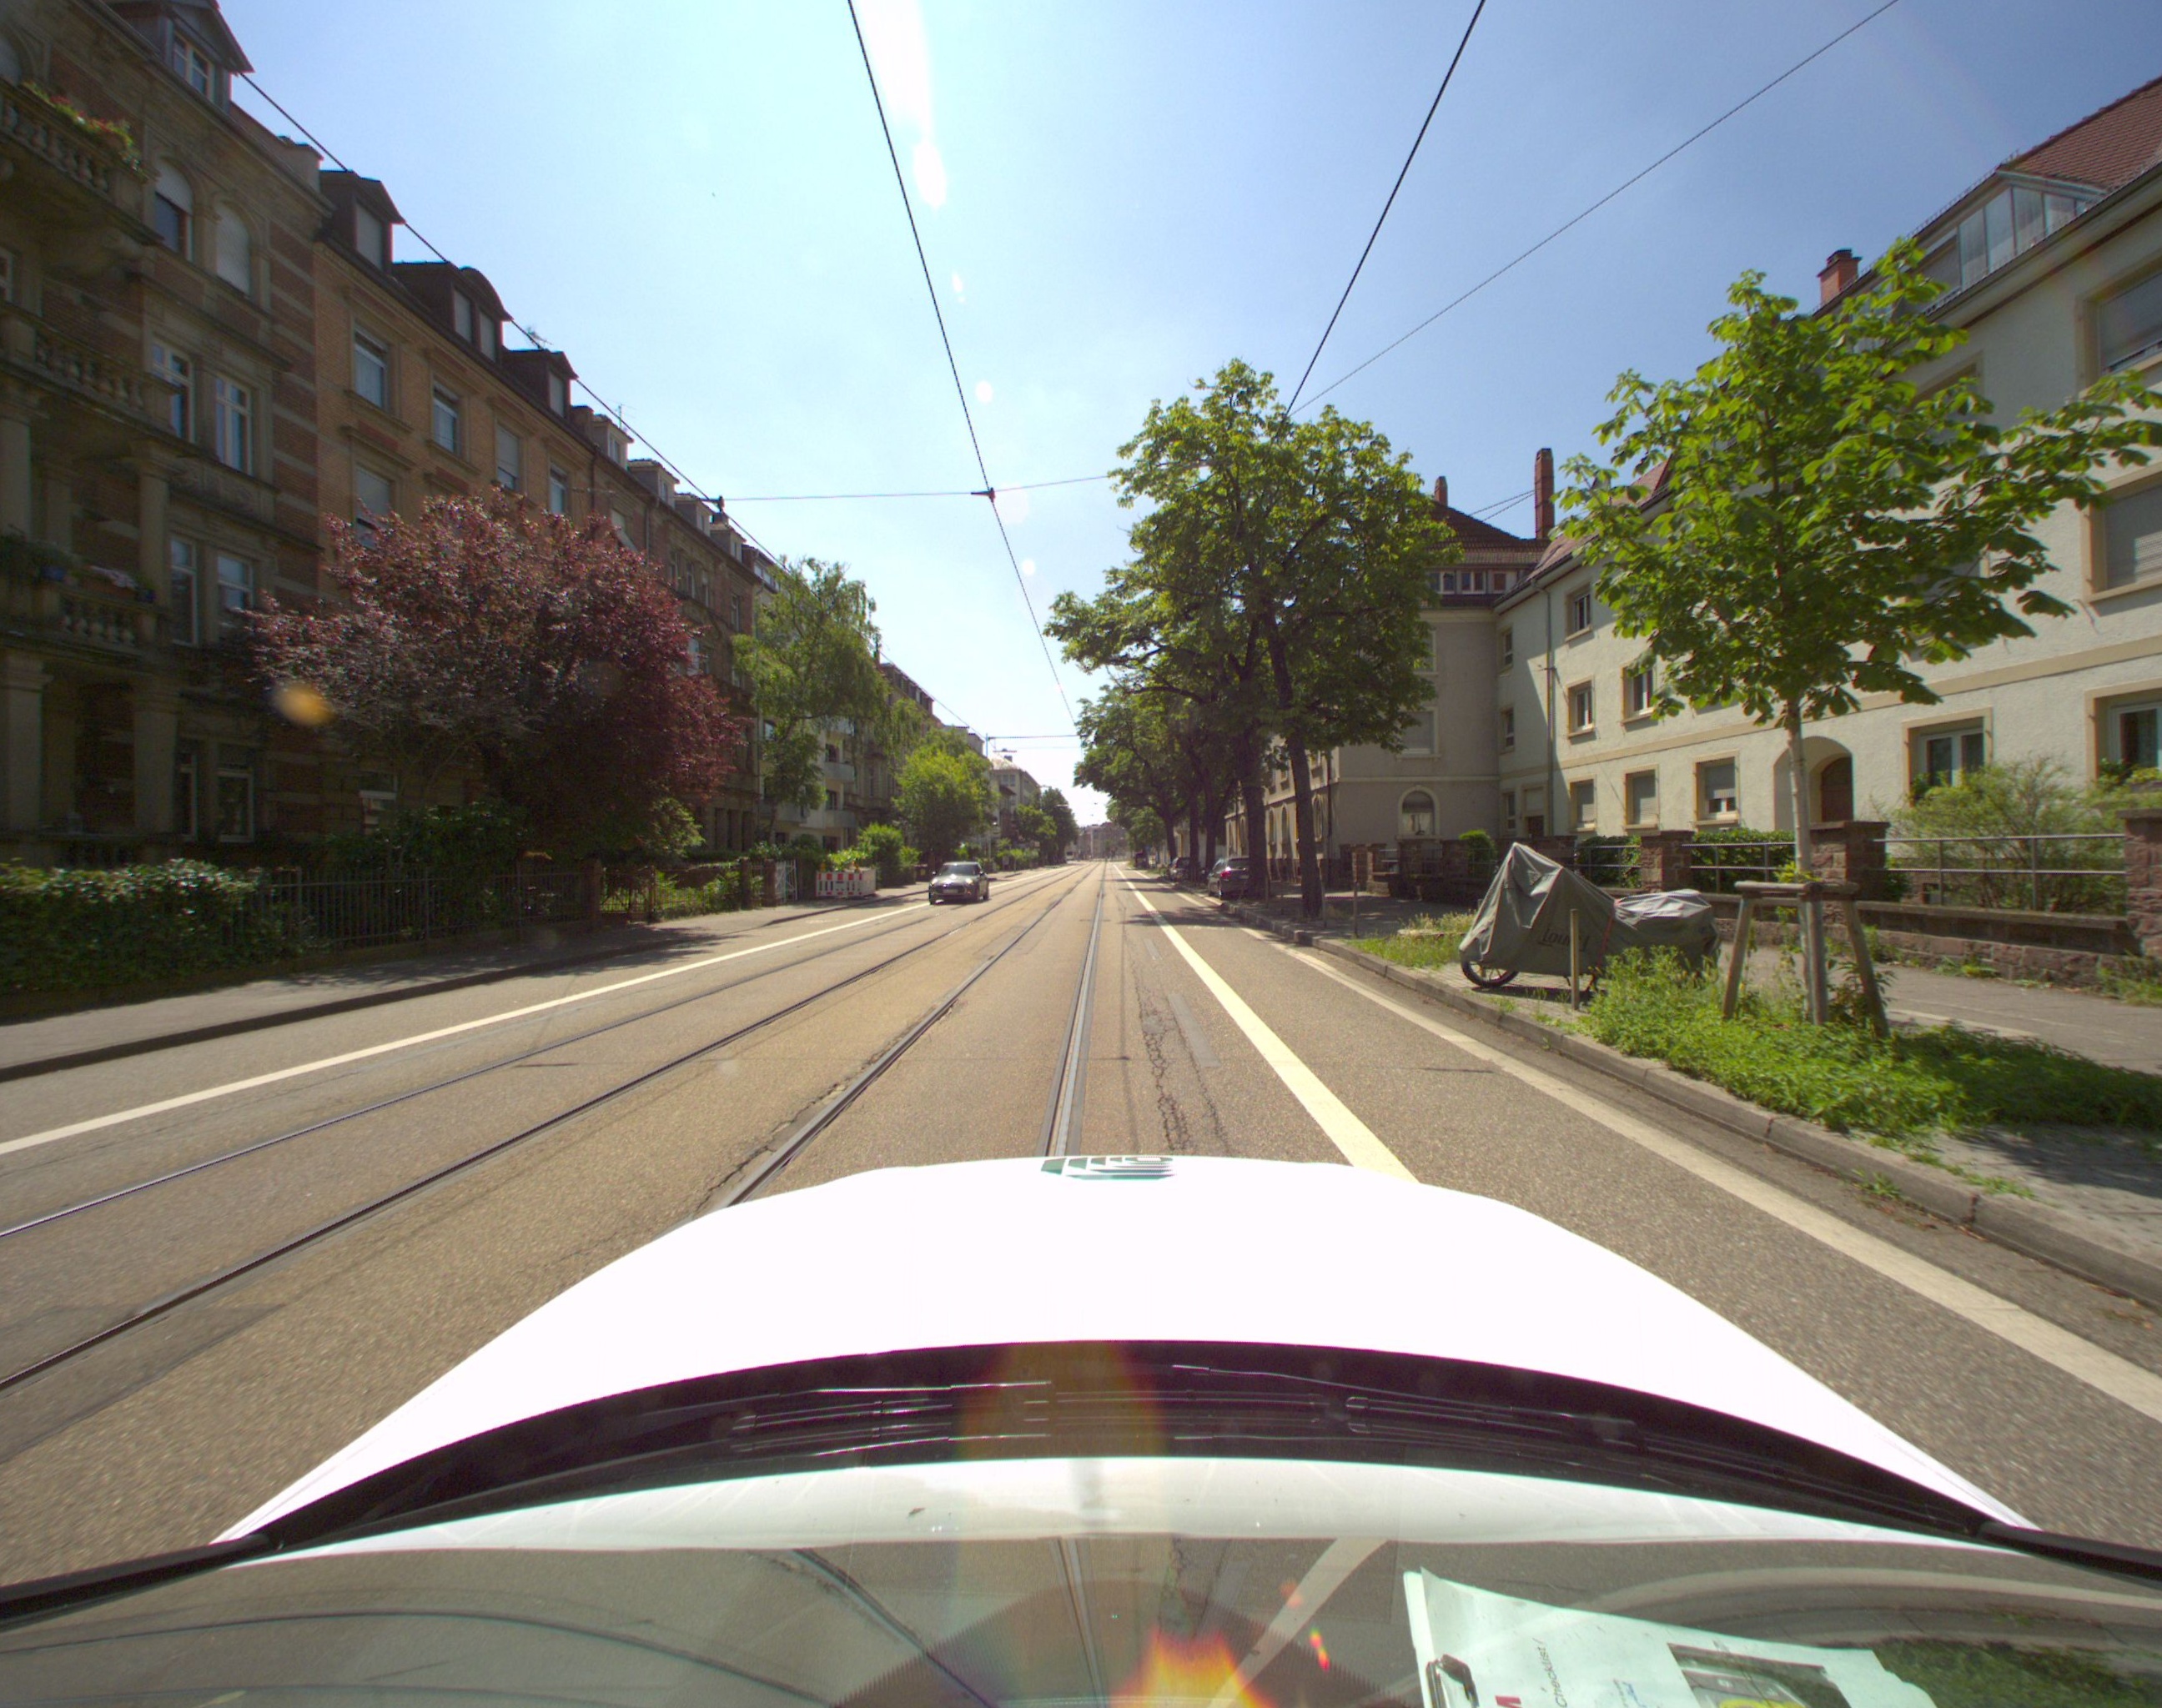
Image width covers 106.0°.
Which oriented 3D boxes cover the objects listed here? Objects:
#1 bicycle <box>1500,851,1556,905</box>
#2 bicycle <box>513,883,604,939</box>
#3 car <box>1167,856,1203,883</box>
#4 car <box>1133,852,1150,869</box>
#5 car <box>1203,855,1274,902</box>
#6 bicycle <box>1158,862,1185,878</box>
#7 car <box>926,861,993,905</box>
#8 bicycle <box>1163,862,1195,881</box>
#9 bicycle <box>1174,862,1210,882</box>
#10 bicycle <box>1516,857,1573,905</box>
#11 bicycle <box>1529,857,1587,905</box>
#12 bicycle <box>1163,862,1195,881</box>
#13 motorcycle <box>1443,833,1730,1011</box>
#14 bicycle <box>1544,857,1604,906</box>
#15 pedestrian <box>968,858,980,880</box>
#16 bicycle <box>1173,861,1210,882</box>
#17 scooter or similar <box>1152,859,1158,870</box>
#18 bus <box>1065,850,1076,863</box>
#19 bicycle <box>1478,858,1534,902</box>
[{"bbox_3d":[10.372,0.536,18.937,0.457,1.191,1.565,-2,0,2],"label":"bicycle"},{"bbox_3d":[-11.788,1.284,18.413,1.610,1.187,0.508,2,0,-12],"label":"bicycle"},{"bbox_3d":[6.103,0.896,48.131,1.616,1.448,3.811,-4,-1,1],"label":"car"},{"bbox_3d":[7.870,0.833,106.911,1.986,2.035,4.699,-2,0,2],"label":"car"},{"bbox_3d":[5.659,0.826,29.740,1.768,1.501,4.306,-3,0,1],"label":"car"},{"bbox_3d":[6.427,1.136,57.783,1.809,1.113,0.493,-2,-2,1],"label":"bicycle"},{"bbox_3d":[-4.330,1.012,29.527,1.680,1.454,3.750,-1,0,2],"label":"car"},{"bbox_3d":[6.378,1.149,53.283,2.001,1.113,0.640,-2,-2,3],"label":"bicycle"},{"bbox_3d":[5.955,0.953,43.682,1.879,1.052,0.539,-2,-1,8],"label":"bicycle"},{"bbox_3d":[10.751,0.607,18.935,0.457,1.056,1.565,-2,0,2],"label":"bicycle"},{"bbox_3d":[11.083,0.611,18.966,0.457,1.056,1.565,-2,0,2],"label":"bicycle"},{"bbox_3d":[6.334,1.145,52.683,1.954,1.113,0.599,-2,-2,3],"label":"bicycle"},{"bbox_3d":[4.986,0.600,8.172,2.291,1.540,0.874,-1,0,44],"label":"motorcycle"},{"bbox_3d":[11.466,0.614,18.971,0.457,1.056,1.565,-2,0,2],"label":"bicycle"},{"bbox_3d":[-8.258,1.141,62.922,0.747,1.629,0.834,-1,-1,4],"label":"pedestrian"},{"bbox_3d":[5.996,0.955,44.116,1.952,1.063,0.600,-2,-1,8],"label":"bicycle"},{"bbox_3d":[8.591,1.192,94.661,0.499,1.230,1.574,-1,-1,2],"label":"scooter or similar"},{"bbox_3d":[-3.410,0.893,265.443,2.920,3.937,11.278,1,-1,2],"label":"bus"},{"bbox_3d":[10.688,0.629,20.536,0.458,1.056,1.562,-2,0,-5],"label":"bicycle"}]
